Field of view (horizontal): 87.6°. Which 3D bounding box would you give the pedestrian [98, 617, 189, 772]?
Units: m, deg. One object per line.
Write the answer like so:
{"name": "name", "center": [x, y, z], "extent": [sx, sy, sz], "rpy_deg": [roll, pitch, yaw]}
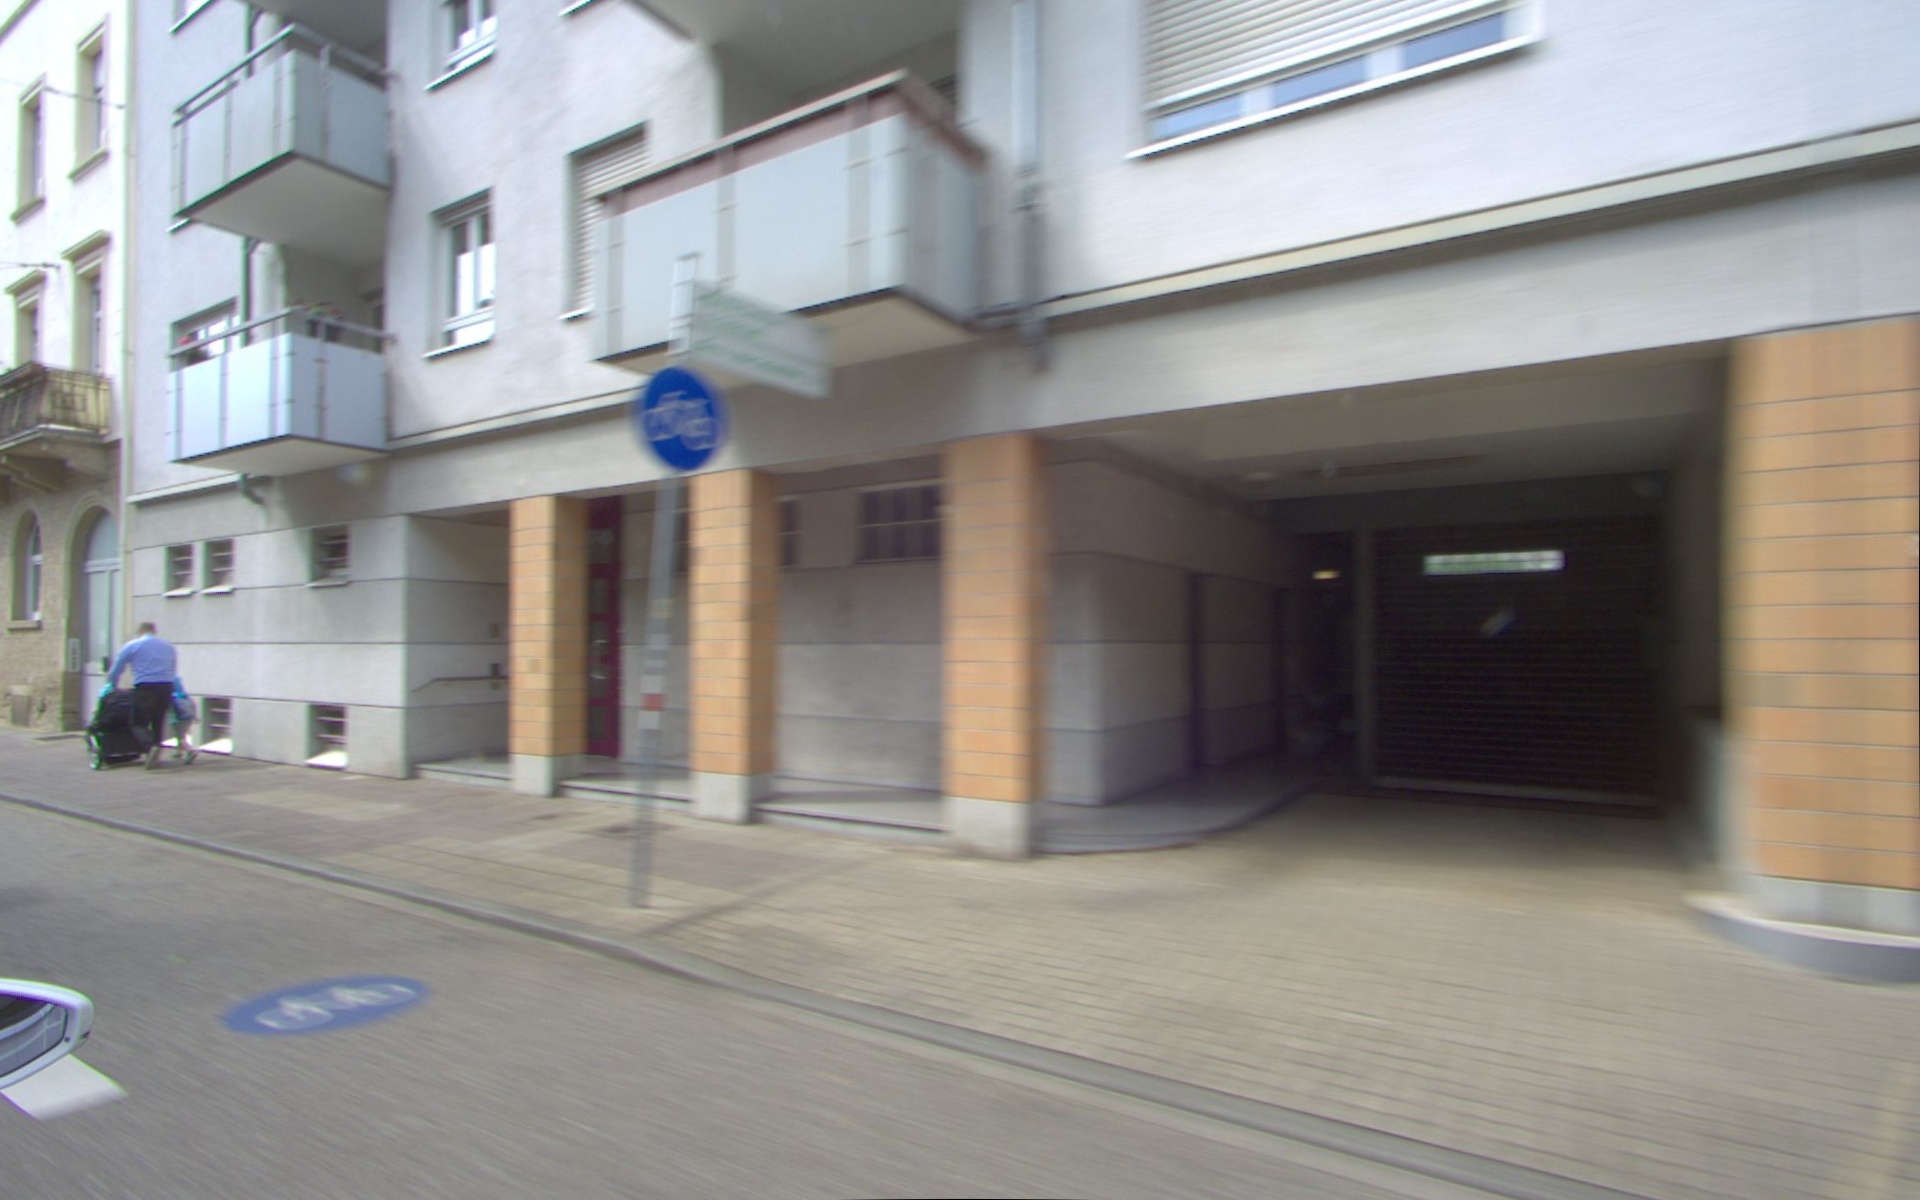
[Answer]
{"name": "pedestrian", "center": [-9.678, 1.091, 11.866], "extent": [0.865, 1.761, 0.619], "rpy_deg": [-1, -1, 34]}

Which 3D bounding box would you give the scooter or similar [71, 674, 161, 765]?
{"name": "scooter or similar", "center": [-10.426, 1.454, 12.368], "extent": [0.893, 1.016, 0.590], "rpy_deg": [-1, 2, 34]}

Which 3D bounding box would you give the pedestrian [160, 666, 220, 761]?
{"name": "pedestrian", "center": [-9.693, 1.416, 12.613], "extent": [0.487, 1.149, 0.455], "rpy_deg": [-1, -2, 34]}
